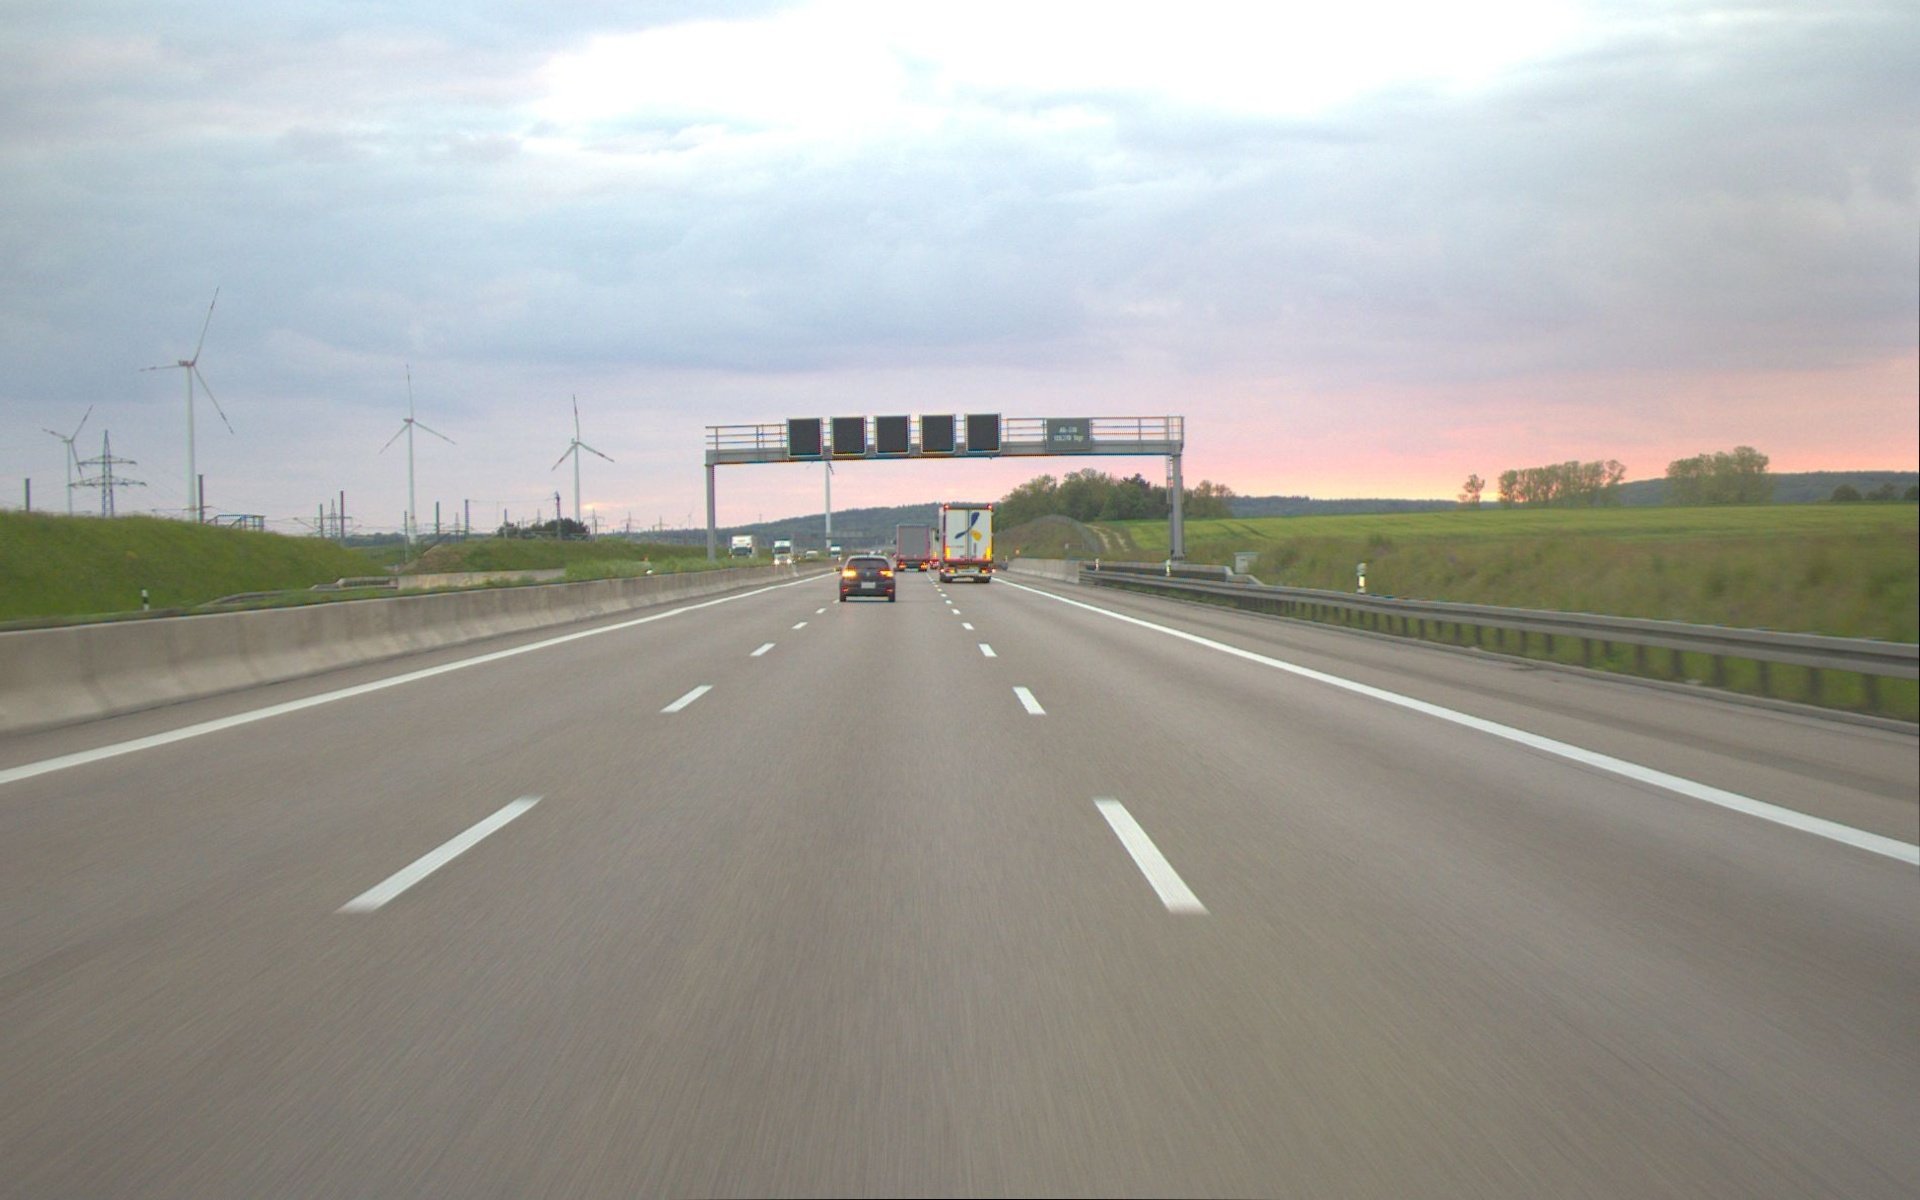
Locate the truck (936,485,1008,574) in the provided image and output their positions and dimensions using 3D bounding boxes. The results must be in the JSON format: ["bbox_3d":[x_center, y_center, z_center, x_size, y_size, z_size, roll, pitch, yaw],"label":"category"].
[{"bbox_3d":[0.600,-3.714,182.579,3.675,4.549,10.982,0,1,0],"label":"truck"}]

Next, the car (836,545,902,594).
[{"bbox_3d":[-2.822,-0.968,106.959,1.987,1.425,4.000,-1,1,-1],"label":"car"}]
